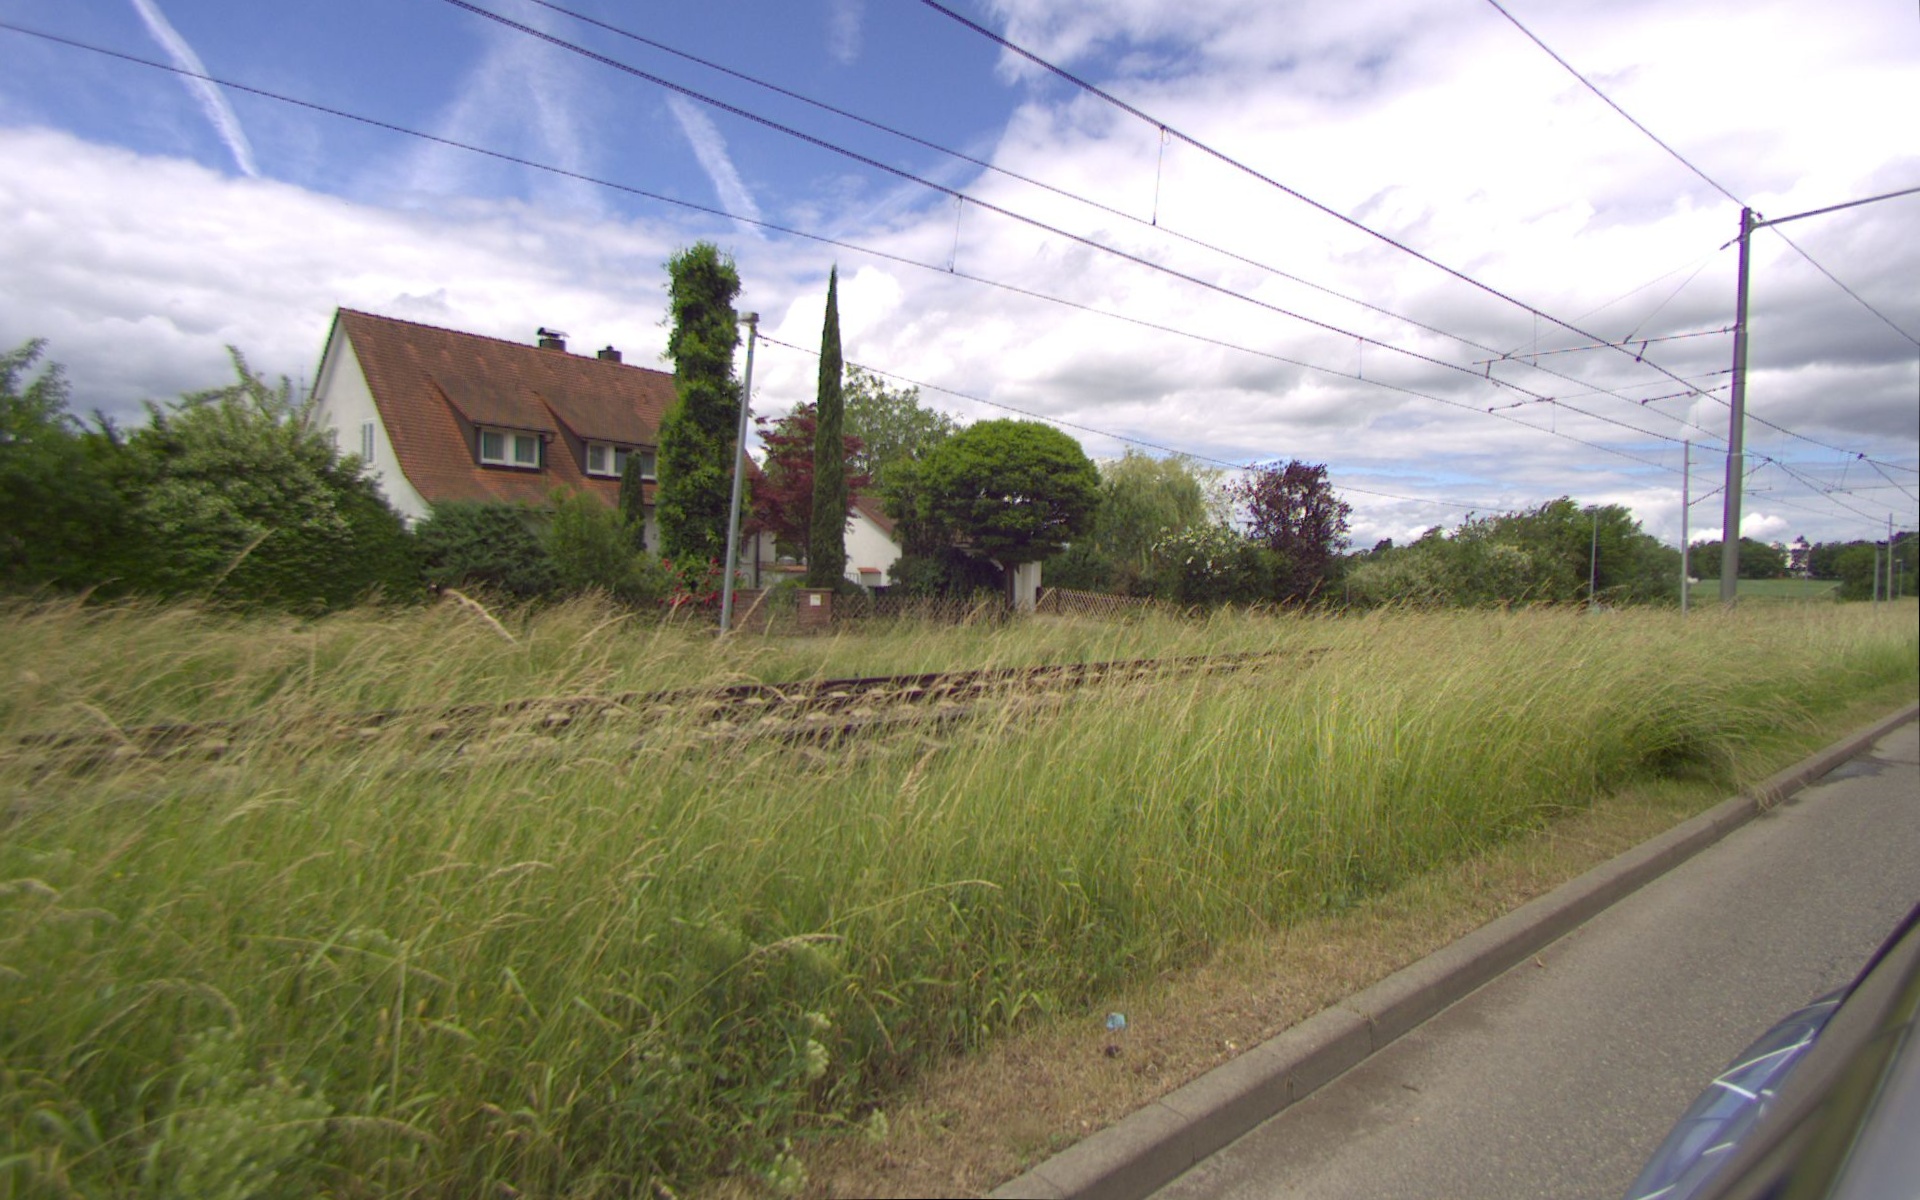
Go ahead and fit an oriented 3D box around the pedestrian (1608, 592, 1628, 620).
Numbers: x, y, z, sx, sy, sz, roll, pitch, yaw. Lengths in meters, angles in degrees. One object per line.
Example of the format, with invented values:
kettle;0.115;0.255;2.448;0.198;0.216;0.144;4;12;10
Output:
pedestrian;34.595;0.298;53.217;0.652;1.449;0.601;0;0;-18

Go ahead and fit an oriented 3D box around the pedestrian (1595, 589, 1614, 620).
pedestrian;34.388;0.258;53.989;0.571;1.643;0.620;0;0;-17
